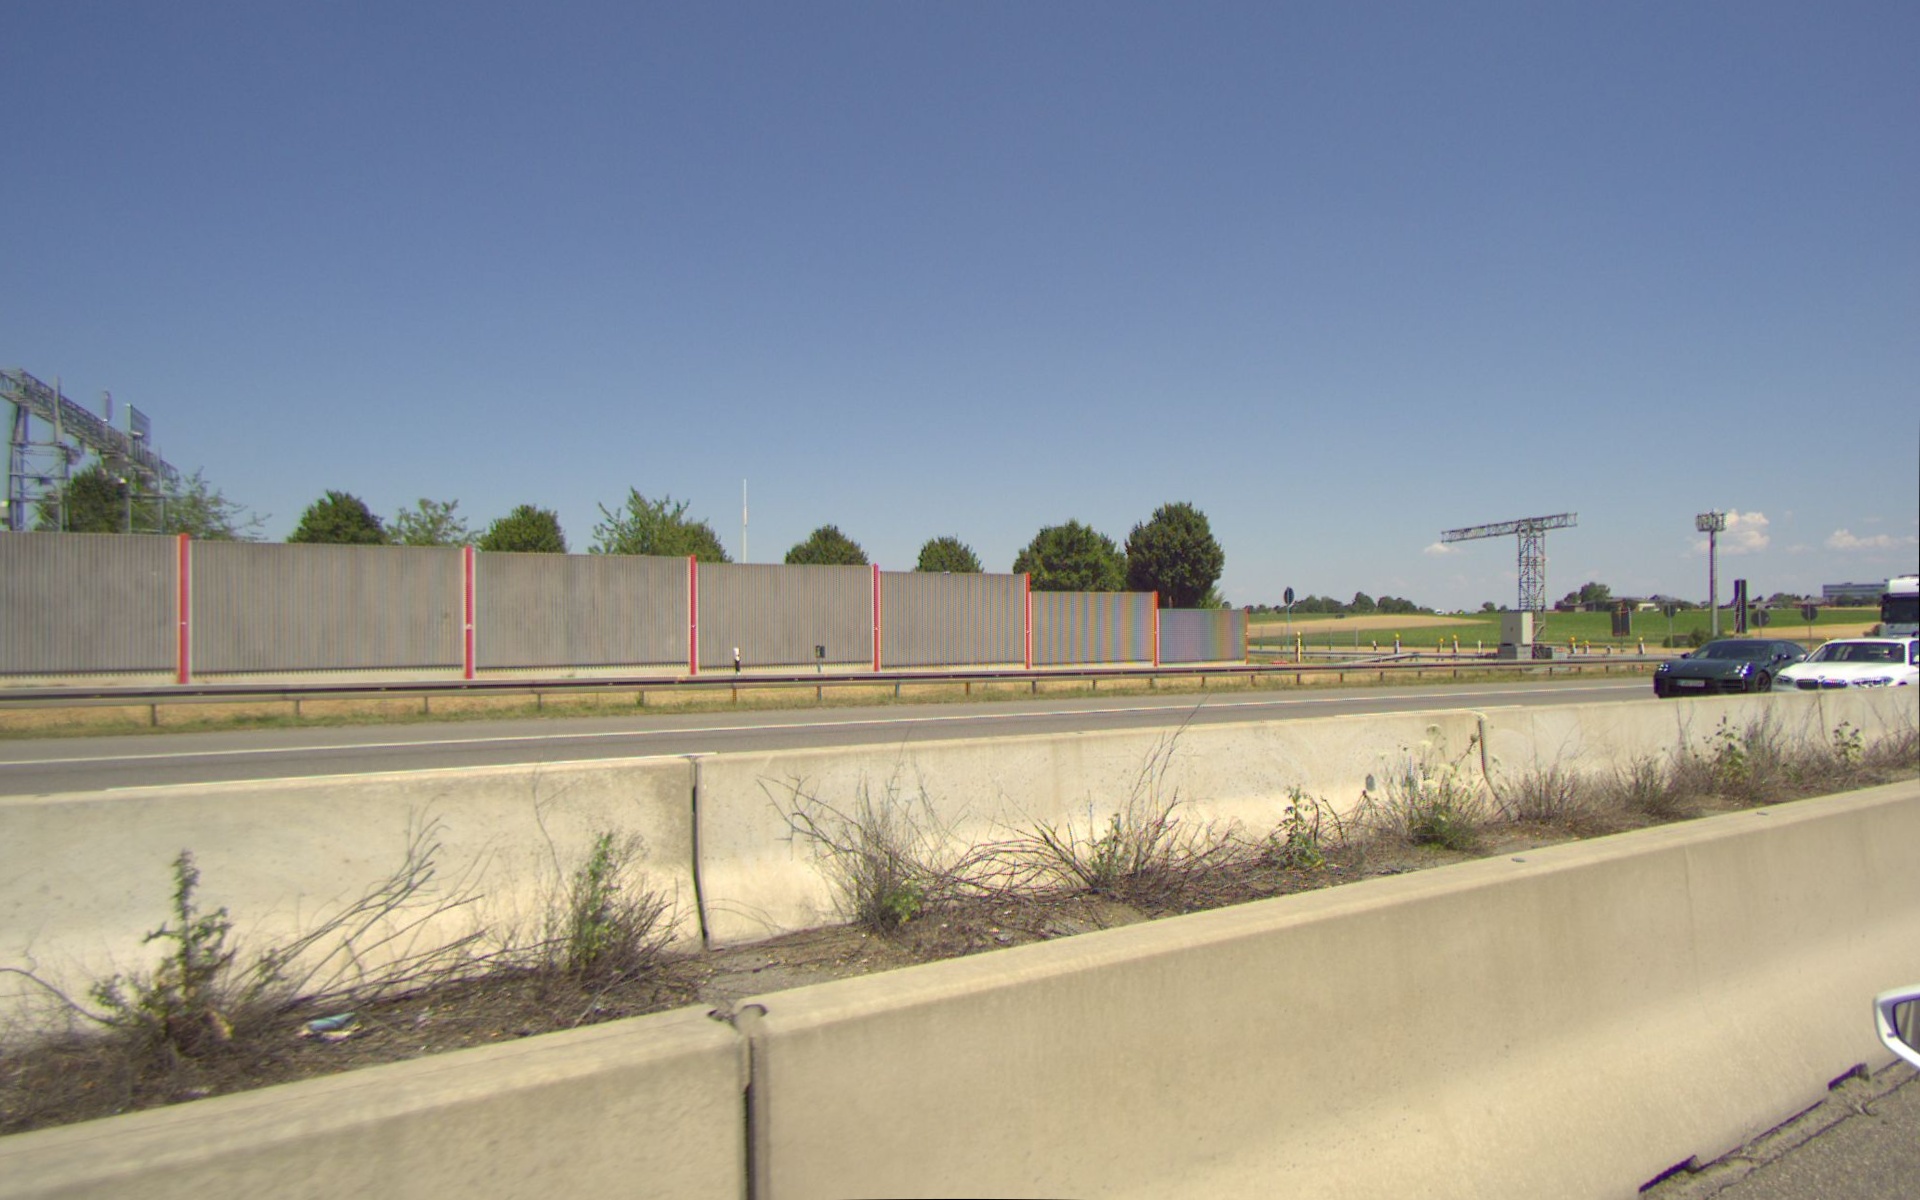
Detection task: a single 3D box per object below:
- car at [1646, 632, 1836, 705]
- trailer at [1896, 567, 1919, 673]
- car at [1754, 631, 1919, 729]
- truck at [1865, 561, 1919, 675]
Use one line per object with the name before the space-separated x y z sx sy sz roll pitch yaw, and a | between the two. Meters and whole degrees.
car | 17.927 1.513 22.998 4.905 1.505 1.803 1 -2 -31
trailer | 45.749 0.913 44.333 12.842 4.432 2.879 1 -3 -31
car | 16.386 1.379 18.201 4.456 1.539 1.666 2 -1 -31
truck | 39.404 0.758 40.542 4.846 4.432 2.857 1 -3 -30
